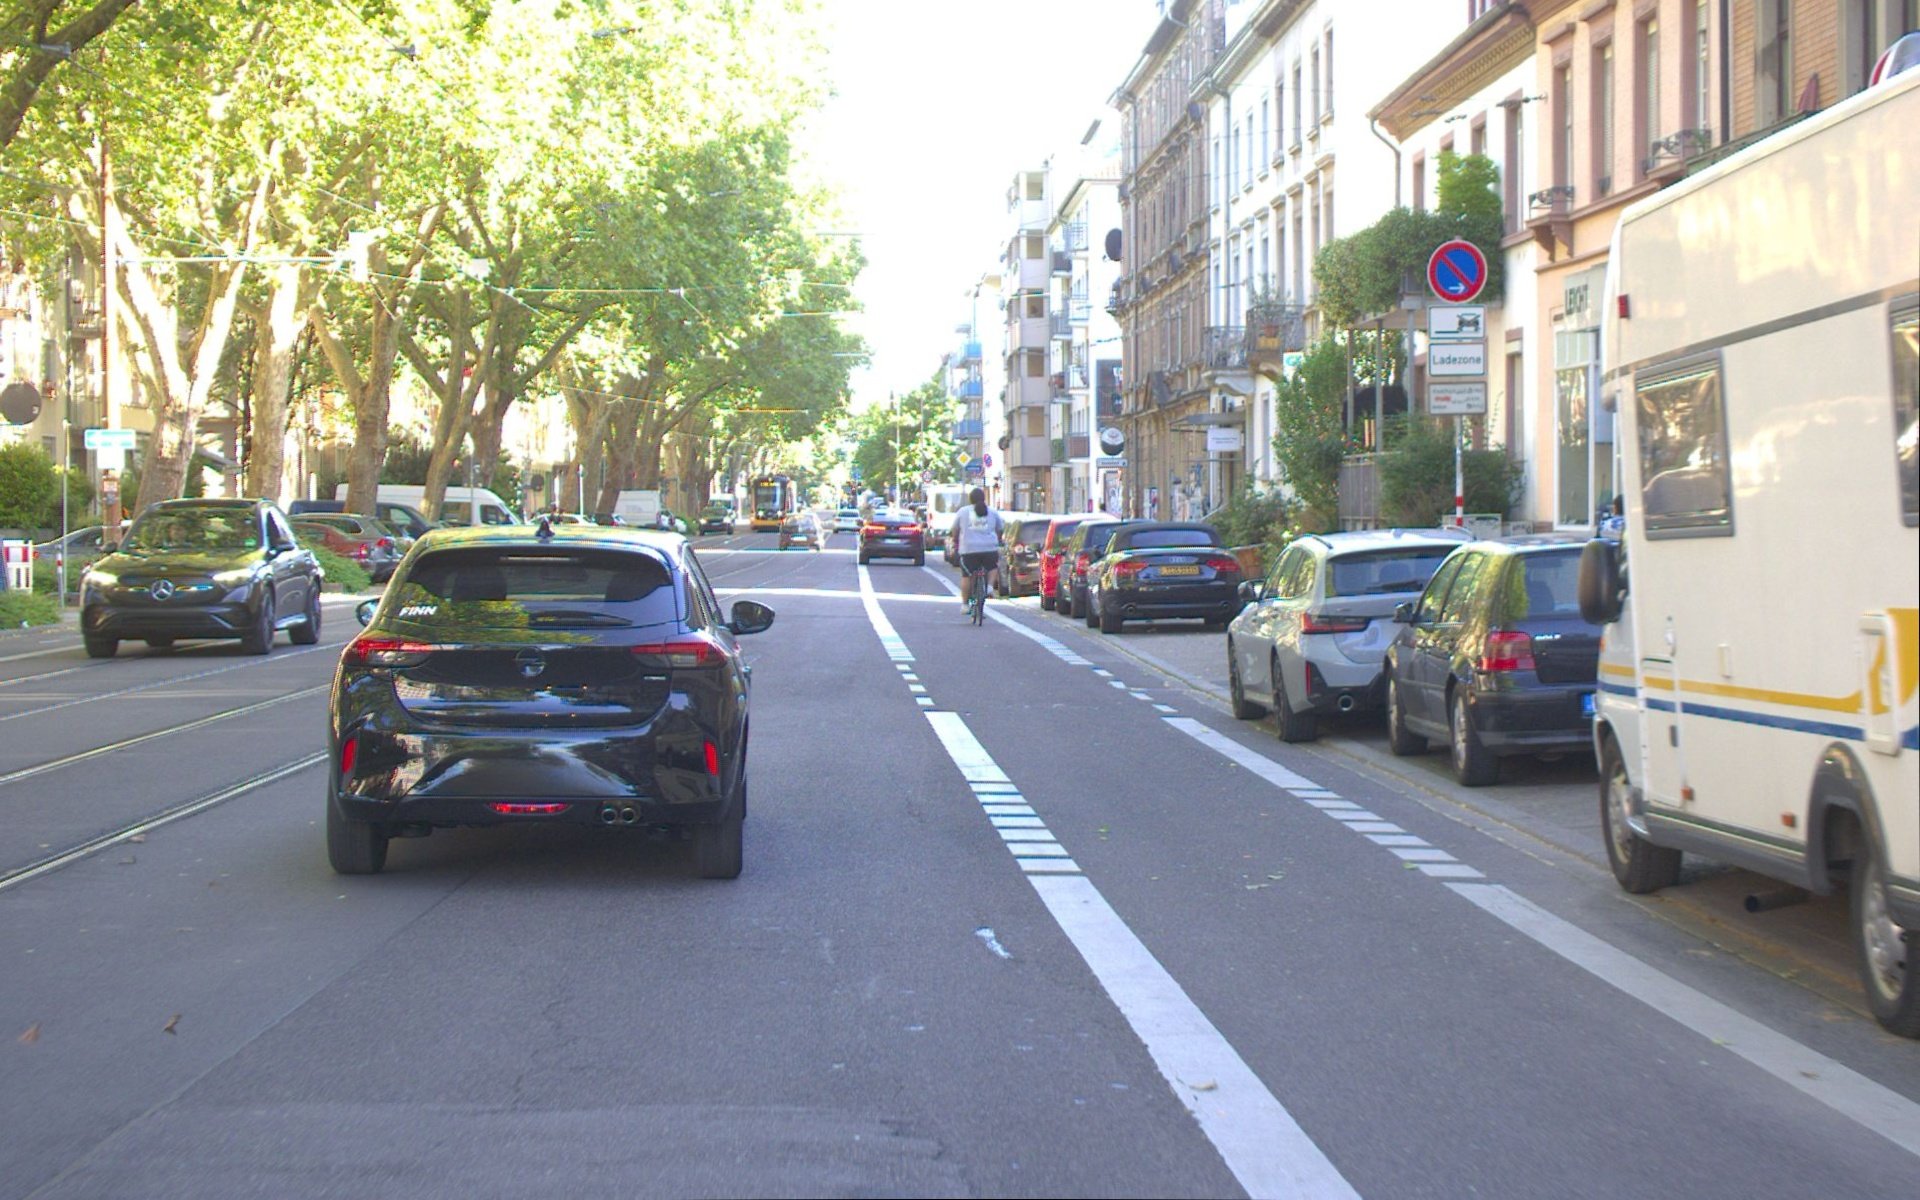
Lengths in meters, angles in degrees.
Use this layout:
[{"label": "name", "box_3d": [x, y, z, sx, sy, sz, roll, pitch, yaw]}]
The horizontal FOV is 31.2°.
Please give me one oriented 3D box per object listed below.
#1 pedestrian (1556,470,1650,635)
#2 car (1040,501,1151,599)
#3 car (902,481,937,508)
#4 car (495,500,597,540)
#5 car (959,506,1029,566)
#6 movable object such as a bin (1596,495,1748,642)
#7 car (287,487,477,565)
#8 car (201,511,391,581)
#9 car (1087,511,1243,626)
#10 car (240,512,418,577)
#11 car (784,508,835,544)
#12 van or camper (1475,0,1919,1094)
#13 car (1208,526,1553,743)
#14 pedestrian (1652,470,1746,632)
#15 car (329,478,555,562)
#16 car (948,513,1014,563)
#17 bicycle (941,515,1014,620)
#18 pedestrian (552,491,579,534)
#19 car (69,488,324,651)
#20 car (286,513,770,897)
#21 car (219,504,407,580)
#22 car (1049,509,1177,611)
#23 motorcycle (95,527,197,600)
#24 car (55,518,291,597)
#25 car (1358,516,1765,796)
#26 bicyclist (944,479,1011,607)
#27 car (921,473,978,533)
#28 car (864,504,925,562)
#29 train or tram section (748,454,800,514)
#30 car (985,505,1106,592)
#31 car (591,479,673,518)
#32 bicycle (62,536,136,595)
[{"label": "pedestrian", "box_3d": [5.964, -0.446, 31.919, 0.660, 1.499, 0.866, -1, 1, -2]}, {"label": "car", "box_3d": [2.201, -0.842, 56.496, 1.634, 1.541, 3.576, -1, 1, 0]}, {"label": "car", "box_3d": [-2.183, -5.667, 184.727, 1.810, 1.333, 3.933, -3, 1, 0]}, {"label": "car", "box_3d": [-16.523, -3.199, 137.371, 3.919, 1.493, 1.677, 2, 1, -4]}, {"label": "car", "box_3d": [0.900, -1.714, 91.943, 1.567, 1.512, 3.041, -3, 1, -4]}, {"label": "movable object such as a bin", "box_3d": [7.531, -0.344, 36.449, 1.293, 1.515, 1.286, 0, 1, -2]}, {"label": "car", "box_3d": [-15.311, -1.954, 91.302, 4.675, 1.917, 1.980, 2, 1, 0]}, {"label": "car", "box_3d": [-14.897, -1.220, 77.243, 3.919, 1.437, 1.749, 2, 1, -1]}, {"label": "car", "box_3d": [2.612, -0.442, 44.573, 1.694, 1.387, 4.495, -1, 1, 0]}, {"label": "car", "box_3d": [-15.006, -1.323, 81.893, 3.919, 1.417, 1.819, 2, 1, -3]}, {"label": "car", "box_3d": [-5.754, -2.835, 131.646, 1.810, 1.333, 3.933, 0, 1, 0]}, {"label": "van or camper", "box_3d": [3.731, -0.278, 11.994, 2.477, 2.961, 7.884, -3, 1, 0]}, {"label": "car", "box_3d": [3.011, 0.182, 25.552, 1.809, 1.430, 4.665, -1, 1, -2]}, {"label": "pedestrian", "box_3d": [6.853, -0.462, 31.893, 0.657, 1.478, 0.785, 0, 1, -2]}, {"label": "car", "box_3d": [-15.989, -2.476, 106.386, 6.627, 2.401, 2.458, 2, 1, -1]}, {"label": "car", "box_3d": [0.595, -1.841, 101.296, 1.810, 1.333, 3.933, -3, 1, 0]}, {"label": "bicycle", "box_3d": [0.231, -0.463, 47.295, 0.860, 1.402, 2.524, 0, 1, -3]}, {"label": "pedestrian", "box_3d": [-14.320, -3.190, 124.872, 0.766, 1.561, 0.681, 0, 1, -26]}, {"label": "car", "box_3d": [-8.151, -0.384, 37.096, 1.866, 1.624, 4.561, 0, 2, -2]}, {"label": "car", "box_3d": [-1.777, 0.368, 15.122, 1.793, 1.436, 3.532, 0, 2, -2]}, {"label": "car", "box_3d": [-14.924, -1.338, 79.489, 3.994, 1.621, 1.879, 2, 1, -2]}, {"label": "car", "box_3d": [2.282, -0.631, 52.076, 1.651, 1.451, 3.869, -1, 1, -2]}, {"label": "motorcycle", "box_3d": [-13.384, -0.610, 56.622, 0.884, 1.143, 2.390, 1, 2, 6]}, {"label": "car", "box_3d": [-14.464, -0.786, 63.322, 3.920, 1.327, 1.848, 2, 1, -1]}, {"label": "car", "box_3d": [3.508, 0.257, 20.717, 1.645, 1.429, 4.029, -3, 1, 0]}, {"label": "bicyclist", "box_3d": [0.233, -0.786, 47.335, 0.848, 1.734, 1.162, 0, 1, -3]}, {"label": "car", "box_3d": [-0.412, -3.787, 134.544, 2.075, 2.211, 4.934, -3, 1, 0]}, {"label": "car", "box_3d": [-1.993, -2.064, 105.146, 1.810, 1.736, 3.933, 0, 1, 0]}, {"label": "train or tram section", "box_3d": [-11.721, -7.296, 217.792, 2.734, 3.669, 12.717, -1, 1, -1]}, {"label": "car", "box_3d": [1.651, -1.027, 67.901, 1.880, 1.580, 3.934, -3, 1, -5]}, {"label": "car", "box_3d": [-15.984, -4.965, 167.824, 3.919, 1.784, 1.677, 2, 1, -4]}, {"label": "bicycle", "box_3d": [-14.389, -0.583, 57.489, 0.541, 0.937, 2.033, 1, 2, 6]}]
